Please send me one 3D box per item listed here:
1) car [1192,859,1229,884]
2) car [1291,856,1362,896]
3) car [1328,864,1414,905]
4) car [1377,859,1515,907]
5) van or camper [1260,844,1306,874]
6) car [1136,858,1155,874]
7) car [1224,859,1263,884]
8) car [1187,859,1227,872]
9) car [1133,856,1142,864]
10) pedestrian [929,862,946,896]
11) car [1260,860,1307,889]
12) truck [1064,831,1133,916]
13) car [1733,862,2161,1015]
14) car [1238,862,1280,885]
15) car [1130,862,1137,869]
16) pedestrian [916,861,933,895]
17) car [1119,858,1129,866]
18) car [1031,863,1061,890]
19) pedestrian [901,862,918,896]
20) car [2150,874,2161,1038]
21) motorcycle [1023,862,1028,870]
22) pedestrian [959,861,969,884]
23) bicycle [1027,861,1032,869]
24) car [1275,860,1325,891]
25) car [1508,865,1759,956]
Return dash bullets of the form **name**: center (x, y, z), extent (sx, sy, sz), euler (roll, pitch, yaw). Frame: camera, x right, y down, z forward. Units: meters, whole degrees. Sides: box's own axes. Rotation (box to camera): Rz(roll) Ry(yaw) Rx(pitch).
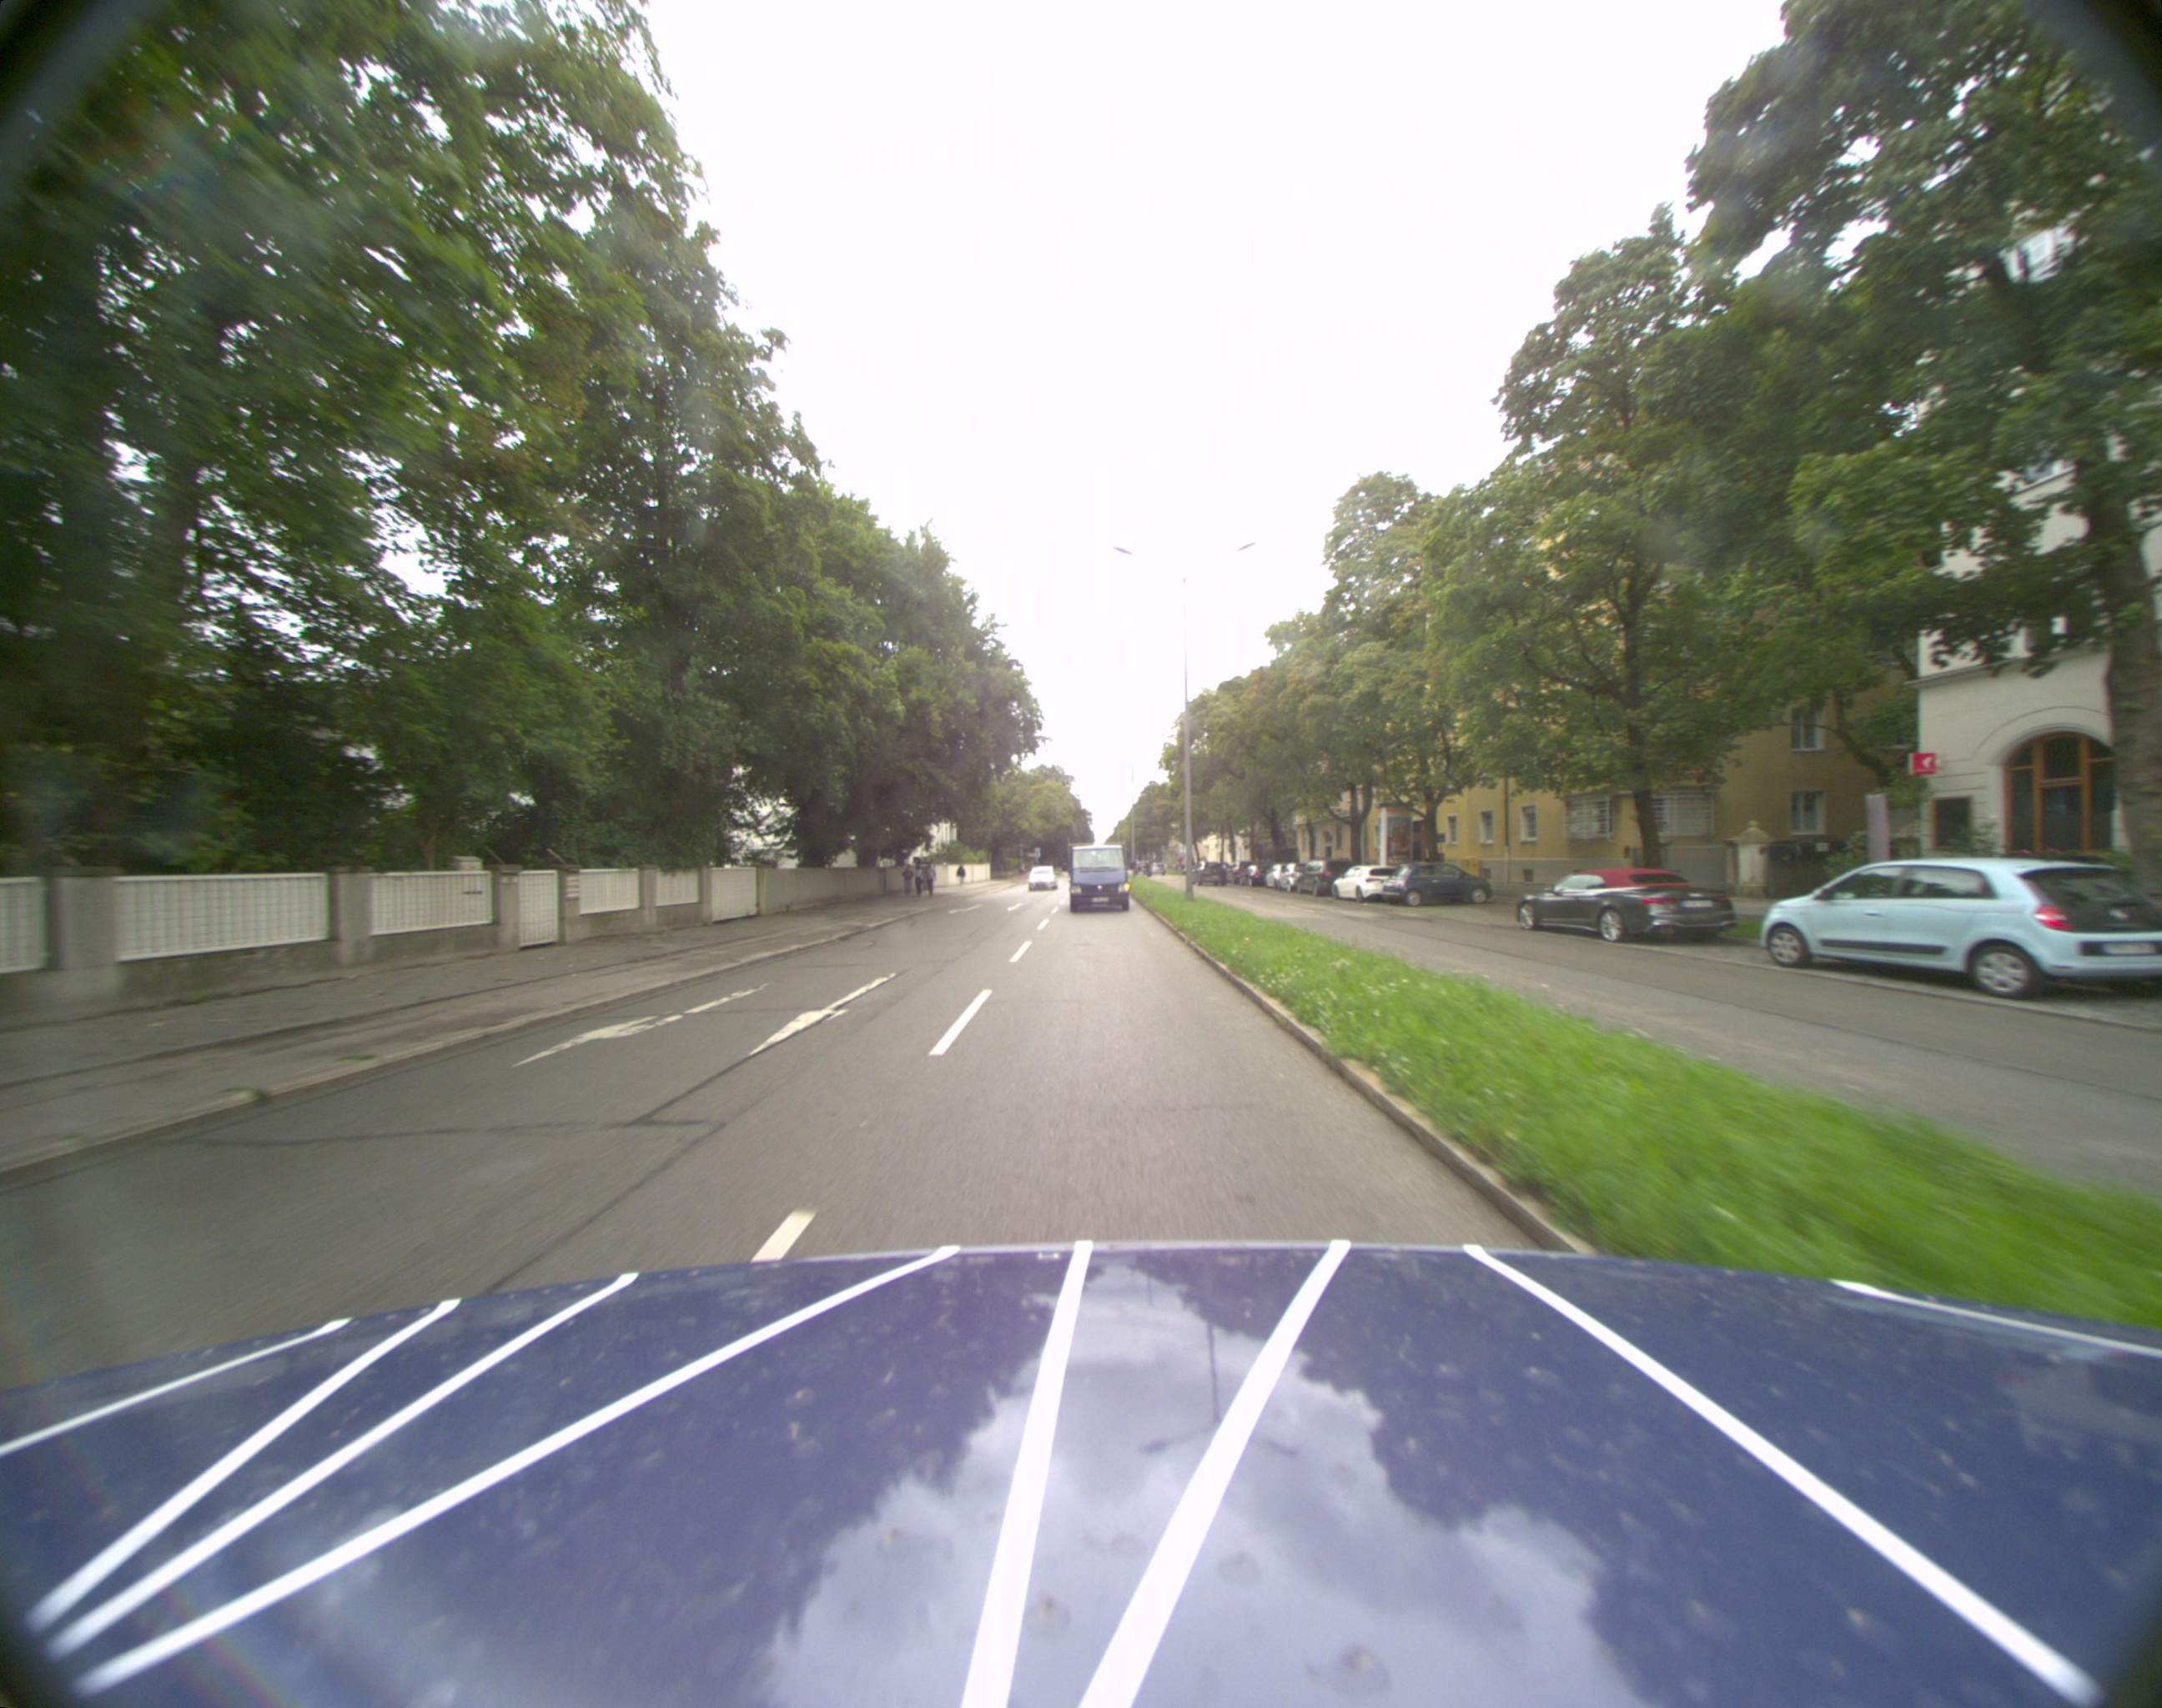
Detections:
- **car**: center (8.695, 1.122, 51.249), extent (1.879, 1.575, 4.621), euler (1, 0, 3)
- **car**: center (11.395, 0.987, 35.606), extent (1.815, 1.717, 4.767), euler (-1, 0, 1)
- **car**: center (11.241, 1.138, 29.788), extent (1.731, 1.394, 4.404), euler (-1, 0, 1)
- **car**: center (12.583, 0.974, 26.340), extent (3.899, 1.455, 1.732), euler (-3, 0, 0)
- **van or camper**: center (18.099, 0.442, 68.396), extent (2.351, 2.564, 6.852), euler (-1, 0, 1)
- **car**: center (6.901, 1.259, 82.186), extent (1.774, 1.669, 4.369), euler (1, 0, 1)
- **car**: center (11.637, 1.222, 54.740), extent (1.883, 1.635, 4.770), euler (-1, 0, 1)
- **car**: center (14.074, 1.266, 84.913), extent (3.990, 1.367, 1.866), euler (-2, -1, 29)
- **car**: center (13.035, 1.416, 176.871), extent (1.872, 1.827, 4.000), euler (-1, 0, 1)
- **pedestrian**: center (-7.279, 1.249, 38.572), extent (0.668, 1.712, 0.729), euler (1, 0, 0)
- **car**: center (11.789, 1.147, 44.460), extent (1.731, 1.552, 4.057), euler (-1, 0, 1)
- **truck**: center (0.578, 0.589, 25.042), extent (1.998, 2.475, 5.151), euler (-1, 0, 1)
- **car**: center (10.925, 0.888, 9.709), extent (1.815, 1.498, 3.960), euler (-1, 0, 1)
- **car**: center (11.425, 1.220, 49.075), extent (1.731, 1.397, 4.363), euler (-1, 0, 1)
- **car**: center (14.060, 3.068, 203.422), extent (1.872, 1.827, 4.000), euler (-1, 0, 1)
- **pedestrian**: center (-7.948, 1.215, 38.585), extent (0.668, 1.683, 0.729), euler (1, 0, 0)
- **car**: center (8.457, 1.596, 148.603), extent (1.815, 1.498, 4.323), euler (1, 0, 1)
- **car**: center (-2.195, 1.392, 48.279), extent (1.647, 1.553, 3.586), euler (-1, 0, 0)
- **pedestrian**: center (-8.680, 1.247, 38.512), extent (0.668, 1.695, 0.766), euler (1, 0, 0)
- **car**: center (10.736, 0.908, 4.856), extent (1.815, 1.498, 4.291), euler (-1, 0, 1)
- **motorcycle**: center (-7.802, 1.666, 106.742), extent (0.497, 1.135, 1.631), euler (-1, 0, -9)
- **pedestrian**: center (-8.343, 1.301, 54.147), extent (0.529, 1.572, 0.729), euler (1, 0, 0)
- **bicycle**: center (-7.721, 1.659, 114.272), extent (0.490, 1.092, 1.631), euler (-1, 0, -9)
- **car**: center (11.475, 1.103, 39.951), extent (1.731, 1.548, 3.010), euler (-1, 0, -1)
- **car**: center (10.874, 1.020, 15.488), extent (1.815, 1.498, 4.646), euler (-1, 0, 1)
